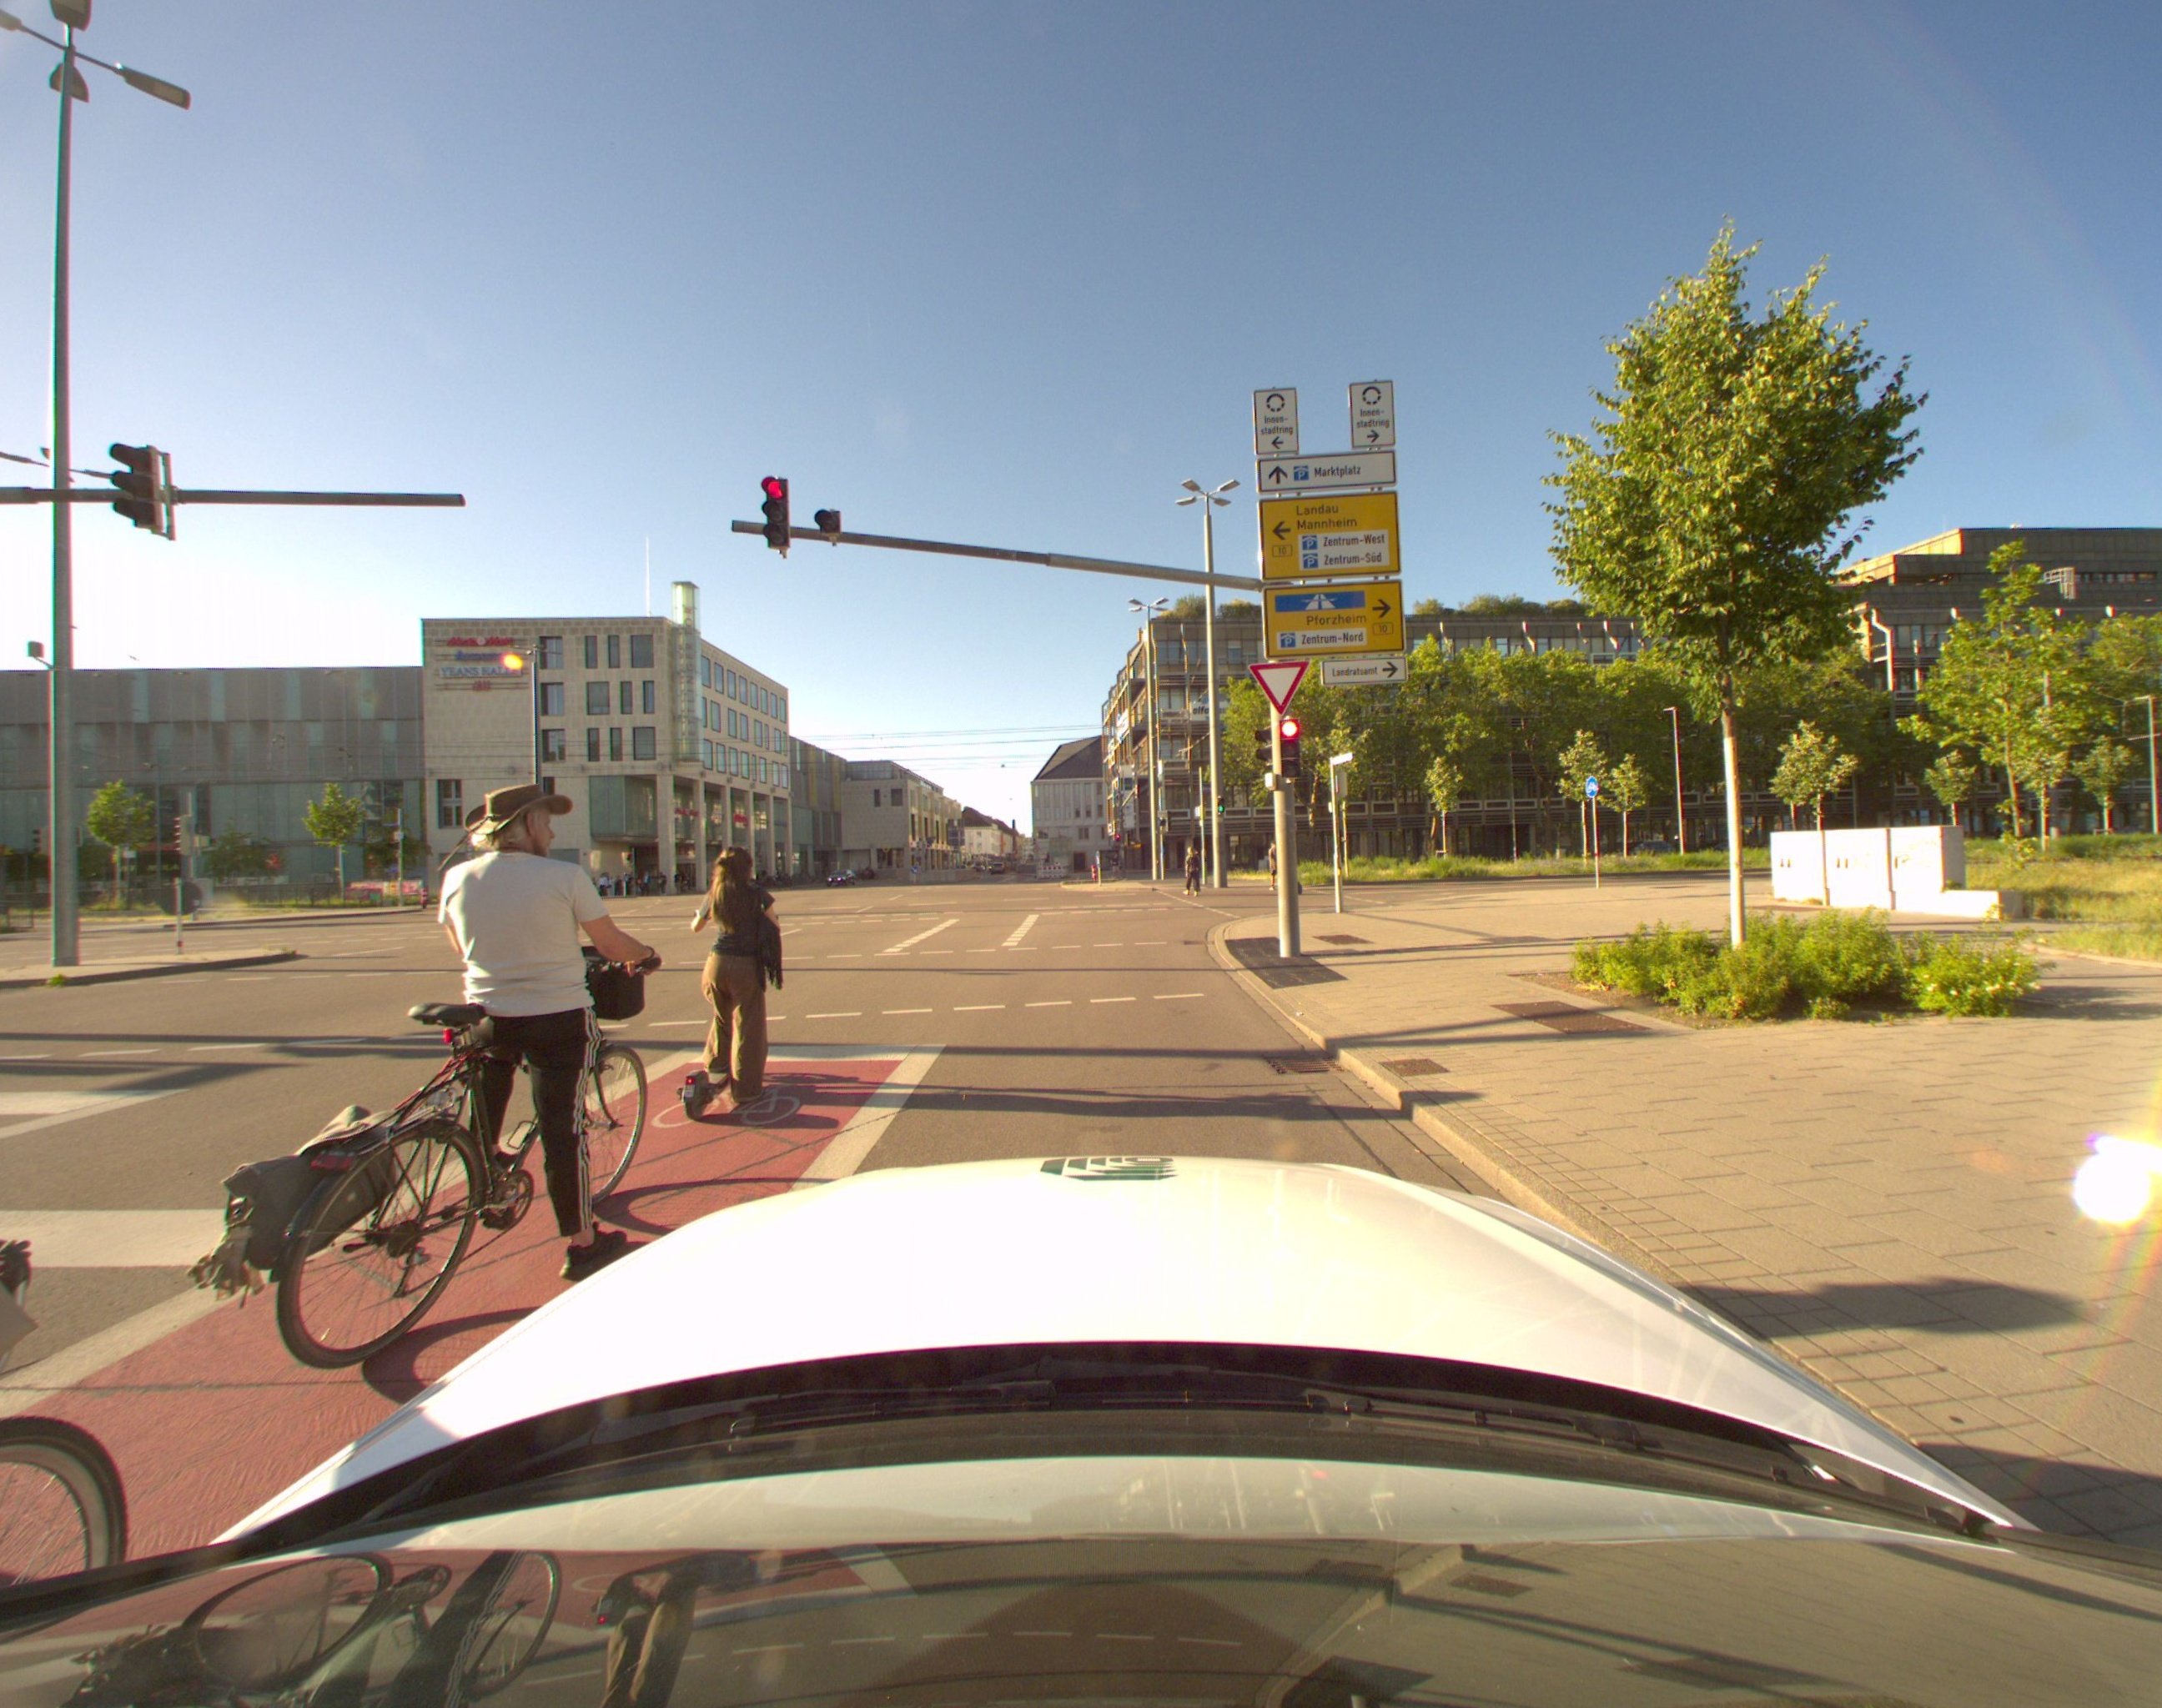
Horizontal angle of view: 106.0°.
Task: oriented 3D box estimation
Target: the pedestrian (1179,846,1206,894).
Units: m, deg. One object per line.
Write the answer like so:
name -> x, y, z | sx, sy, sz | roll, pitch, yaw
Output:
pedestrian -> 3.540, 0.512, 25.990 | 0.785, 1.492, 0.644 | 0, -1, 1

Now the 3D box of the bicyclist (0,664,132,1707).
bicyclist -> -1.677, 0.552, 0.721 | 0.639, 1.579, 0.875 | 0, 0, -1

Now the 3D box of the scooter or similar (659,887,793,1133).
scooter or similar -> -2.158, 0.873, 5.073 | 0.547, 1.294, 1.188 | 0, -1, -13

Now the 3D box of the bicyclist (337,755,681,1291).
bicyclist -> -2.058, 0.545, 3.060 | 0.658, 1.720, 0.866 | 0, -1, 1

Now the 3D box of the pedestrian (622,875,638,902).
pedestrian -> -31.945, 2.453, 57.692 | 0.783, 1.885, 0.716 | 0, -1, -4

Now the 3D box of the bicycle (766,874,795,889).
bicycle -> -26.563, 2.432, 72.011 | 2.299, 1.222, 0.612 | -2, -1, -1

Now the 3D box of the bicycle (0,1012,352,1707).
bicycle -> -1.672, 0.912, 0.610 | 0.614, 1.218, 1.831 | 0, 0, -1

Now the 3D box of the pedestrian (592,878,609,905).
pedestrian -> -33.868, 2.615, 57.373 | 0.783, 1.885, 0.716 | 0, -1, -4

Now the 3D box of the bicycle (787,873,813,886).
bicycle -> -27.627, 2.507, 80.126 | 2.299, 1.222, 0.612 | -2, -1, -1

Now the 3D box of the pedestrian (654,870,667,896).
pedestrian -> -30.791, 2.121, 59.666 | 0.800, 1.843, 0.856 | -2, 0, -26

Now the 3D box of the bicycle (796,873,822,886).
bicycle -> -27.183, 2.514, 81.343 | 2.299, 1.222, 0.612 | -2, -1, -1

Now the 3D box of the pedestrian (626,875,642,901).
pedestrian -> -32.511, 2.470, 59.244 | 0.783, 1.885, 0.716 | 0, -1, -4

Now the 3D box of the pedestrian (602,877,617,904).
pedestrian -> -33.991, 2.627, 58.720 | 0.714, 1.885, 0.786 | 0, -1, -6

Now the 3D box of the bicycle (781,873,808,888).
bicycle -> -26.695, 2.466, 75.963 | 2.299, 1.222, 0.612 | -2, -1, -1

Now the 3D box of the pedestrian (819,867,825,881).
pedestrian -> -30.987, 2.374, 97.362 | 0.570, 1.679, 0.614 | 0, 0, -8

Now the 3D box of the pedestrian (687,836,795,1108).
pedestrian -> -2.164, 0.708, 5.242 | 0.549, 1.633, 0.569 | 0, -1, -13

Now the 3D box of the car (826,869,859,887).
car -> -20.623, 2.055, 70.507 | 1.625, 1.342, 3.999 | -4, -1, 0

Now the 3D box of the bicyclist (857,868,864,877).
bicyclist -> -25.865, 2.150, 95.604 | 0.628, 1.084, 0.506 | 0, 0, -41

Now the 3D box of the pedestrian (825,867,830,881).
pedestrian -> -30.381, 2.368, 97.563 | 0.553, 1.679, 0.606 | 0, 0, -8

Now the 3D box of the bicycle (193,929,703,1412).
bicycle -> -2.150, 0.945, 3.137 | 0.483, 1.156, 1.832 | 0, -1, 2

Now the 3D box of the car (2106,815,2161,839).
car -> 73.857, -1.897, 56.424 | 3.984, 1.342, 1.631 | -4, -1, -7

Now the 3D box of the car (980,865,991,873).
car -> -19.233, 3.041, 164.242 | 1.793, 1.657, 3.997 | 0, -1, -2

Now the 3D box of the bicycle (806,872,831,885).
bicycle -> -27.585, 2.552, 85.581 | 2.299, 1.222, 0.612 | -2, -1, -1

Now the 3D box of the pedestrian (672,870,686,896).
pedestrian -> -29.105, 2.068, 58.940 | 0.801, 1.843, 0.855 | -2, 0, -30

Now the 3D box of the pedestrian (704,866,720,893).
pedestrian -> -27.584, 1.922, 60.884 | 0.883, 2.014, 0.771 | 0, -1, -9

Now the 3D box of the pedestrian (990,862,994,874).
pedestrian -> -12.828, 2.069, 117.622 | 0.520, 1.679, 0.582 | 0, 0, -5

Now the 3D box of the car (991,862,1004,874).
car -> -11.134, 1.866, 108.654 | 1.735, 1.531, 3.848 | 0, -1, -5

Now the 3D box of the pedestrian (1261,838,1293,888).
pedestrian -> 6.641, 0.314, 27.603 | 0.875, 1.665, 0.965 | 0, -1, 1

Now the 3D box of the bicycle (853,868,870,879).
bicycle -> -25.761, 2.324, 95.671 | 1.820, 1.206, 0.506 | -1, 0, -40

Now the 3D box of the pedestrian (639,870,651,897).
pedestrian -> -31.126, 2.104, 58.163 | 0.718, 1.885, 0.781 | 0, -1, -25

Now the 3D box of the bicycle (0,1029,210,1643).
bicycle -> -2.424, 0.984, 0.979 | 0.645, 1.109, 1.970 | 0, 0, -1

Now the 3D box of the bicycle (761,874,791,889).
bicycle -> -26.461, 2.420, 70.651 | 2.299, 1.222, 0.612 | -2, -1, -1

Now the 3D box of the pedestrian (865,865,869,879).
pedestrian -> -26.099, 2.197, 99.355 | 0.521, 1.679, 0.580 | 0, 0, -12

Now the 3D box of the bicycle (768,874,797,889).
bicycle -> -26.738, 2.440, 72.896 | 2.299, 1.222, 0.612 | -2, -1, -1

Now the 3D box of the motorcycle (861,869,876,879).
motorcycle -> -25.778, 2.436, 98.739 | 1.807, 1.206, 0.509 | 0, 0, -14

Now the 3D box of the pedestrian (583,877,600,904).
pedestrian -> -35.129, 2.600, 58.433 | 0.783, 1.885, 0.716 | 0, -1, -4

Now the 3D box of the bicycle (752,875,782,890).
bicycle -> -26.732, 2.411, 69.374 | 2.299, 1.222, 0.612 | -2, -1, -1

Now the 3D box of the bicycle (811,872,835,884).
bicycle -> -27.421, 2.560, 86.647 | 2.299, 1.222, 0.612 | -2, -1, -1

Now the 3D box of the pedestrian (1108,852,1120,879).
pedestrian -> 2.325, 0.819, 57.411 | 0.785, 1.890, 0.644 | 0, -1, 1

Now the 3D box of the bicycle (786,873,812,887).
bicycle -> -27.061, 2.486, 78.131 | 2.299, 1.222, 0.612 | -2, -1, -1
